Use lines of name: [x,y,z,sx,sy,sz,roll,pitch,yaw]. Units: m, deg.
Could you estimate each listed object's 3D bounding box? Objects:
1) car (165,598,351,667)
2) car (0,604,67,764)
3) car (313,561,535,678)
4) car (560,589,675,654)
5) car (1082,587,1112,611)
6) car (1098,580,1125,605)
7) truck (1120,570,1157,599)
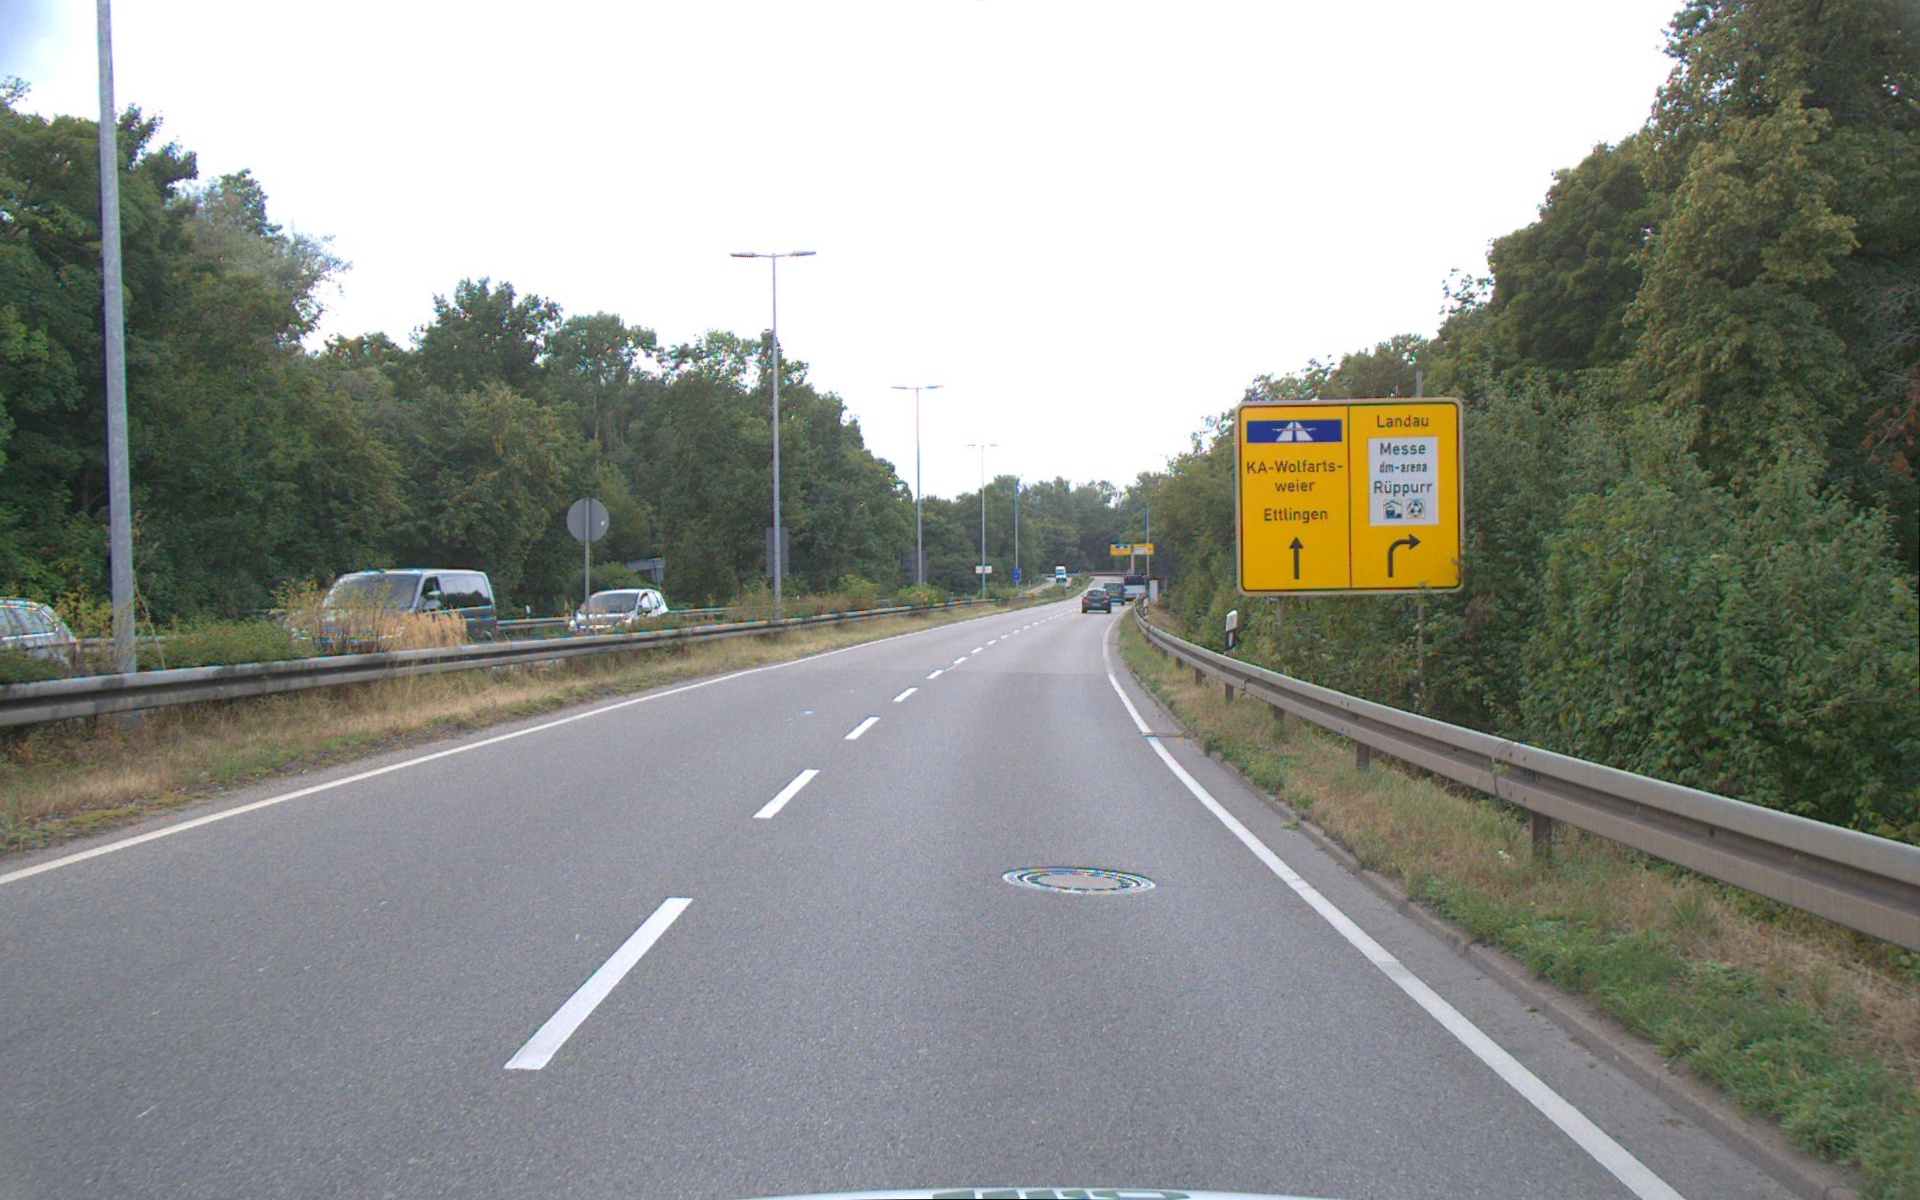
car: [-14.146,0.653,33.586,1.781,1.311,4.002,0,-1,5]
car: [-11.146,0.881,16.648,1.802,1.696,4.336,0,-1,3]
car: [-9.418,0.362,29.606,1.967,1.896,5.280,0,-1,3]
car: [-8.440,0.542,41.087,1.730,1.533,3.942,0,-1,5]
car: [8.448,-0.033,101.617,1.591,1.402,4.003,0,-1,8]
car: [13.096,-0.613,142.540,2.102,2.049,4.003,0,-1,8]
truck: [19.424,-1.647,179.753,2.917,2.935,7.996,0,-1,14]
